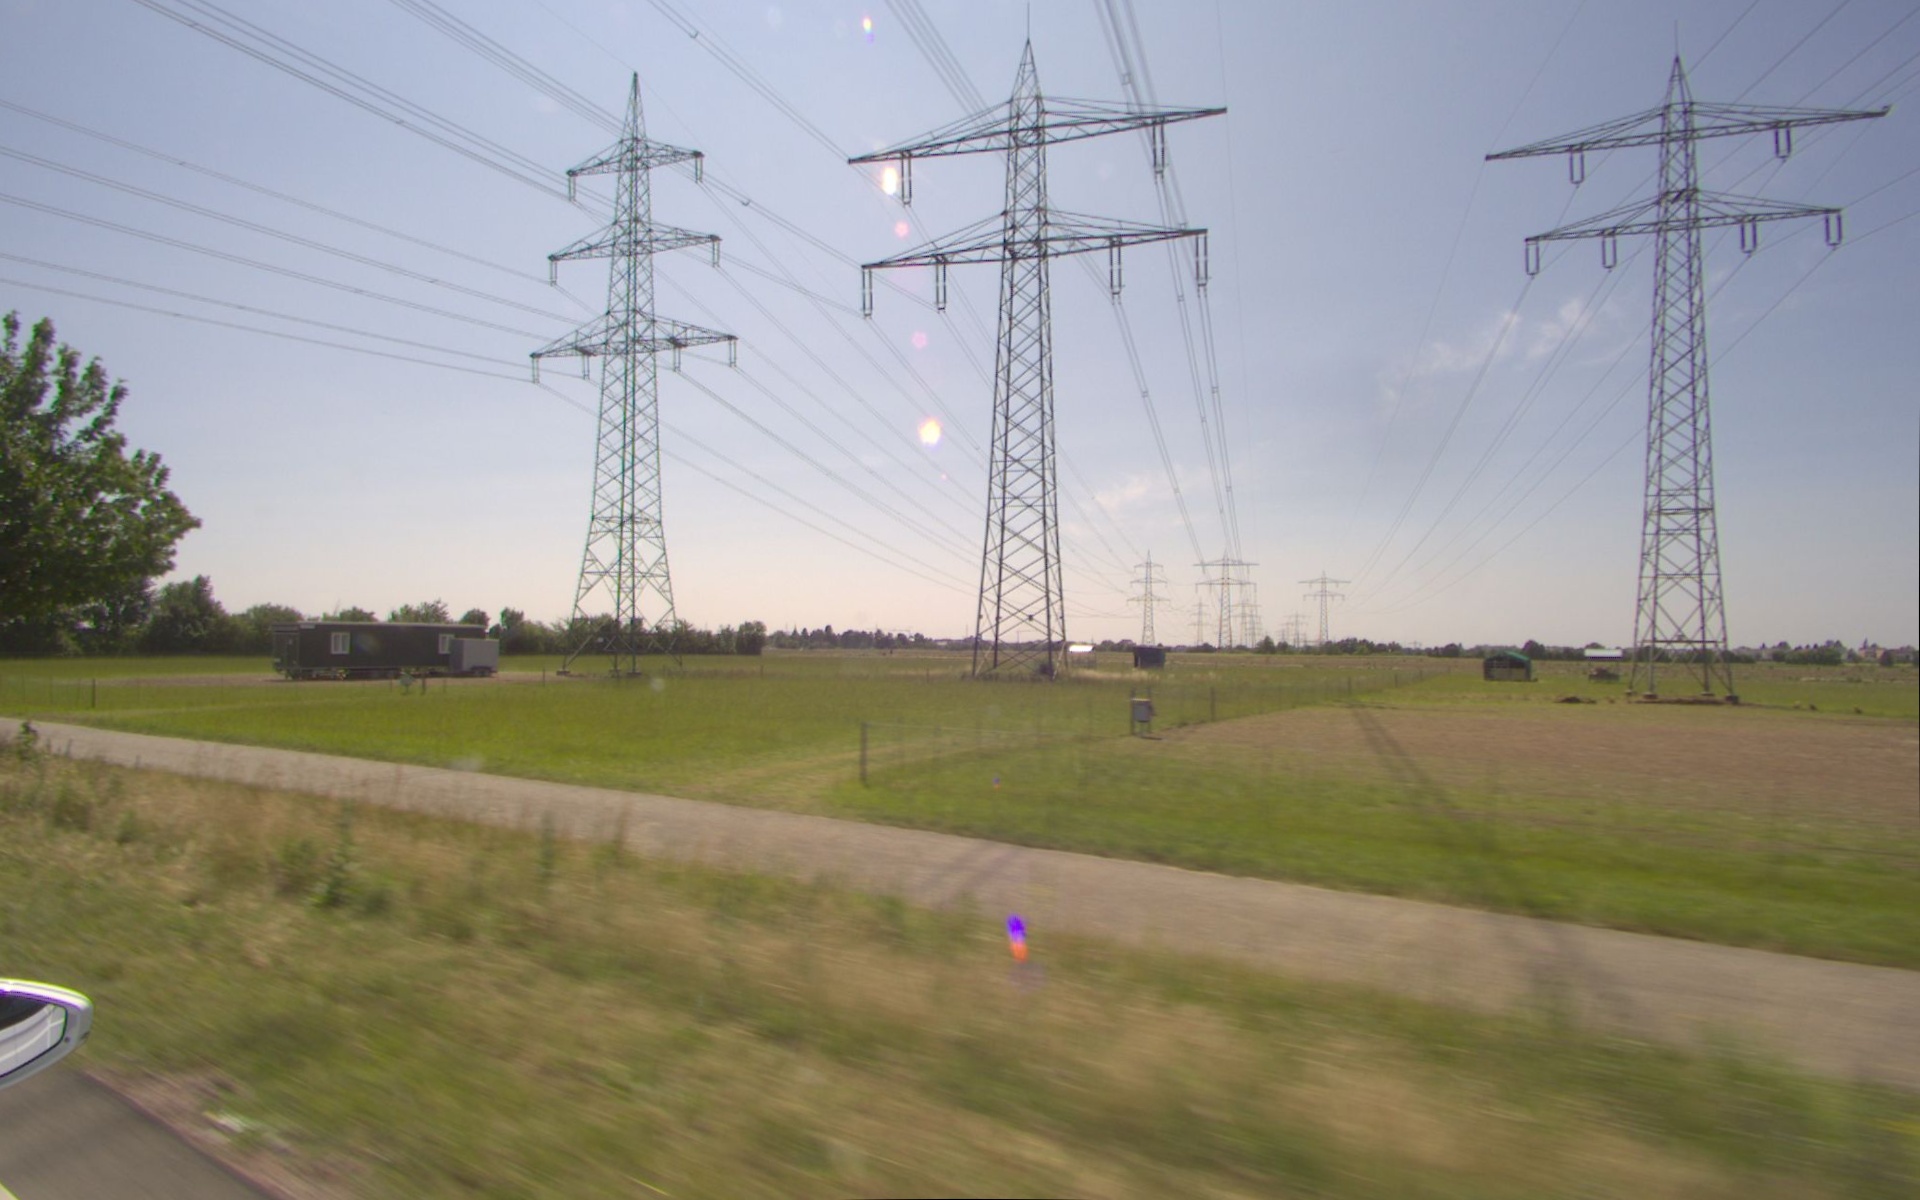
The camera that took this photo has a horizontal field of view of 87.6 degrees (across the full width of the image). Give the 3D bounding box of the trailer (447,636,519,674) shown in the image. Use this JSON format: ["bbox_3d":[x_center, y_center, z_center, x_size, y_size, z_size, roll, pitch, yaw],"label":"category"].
[{"bbox_3d":[-31.987,3.667,67.255,1.969,2.473,3.986,0,-3,28],"label":"trailer"}]

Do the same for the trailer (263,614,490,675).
[{"bbox_3d":[-37.089,2.899,64.499,3.748,3.516,12.402,0,-3,30],"label":"trailer"}]
